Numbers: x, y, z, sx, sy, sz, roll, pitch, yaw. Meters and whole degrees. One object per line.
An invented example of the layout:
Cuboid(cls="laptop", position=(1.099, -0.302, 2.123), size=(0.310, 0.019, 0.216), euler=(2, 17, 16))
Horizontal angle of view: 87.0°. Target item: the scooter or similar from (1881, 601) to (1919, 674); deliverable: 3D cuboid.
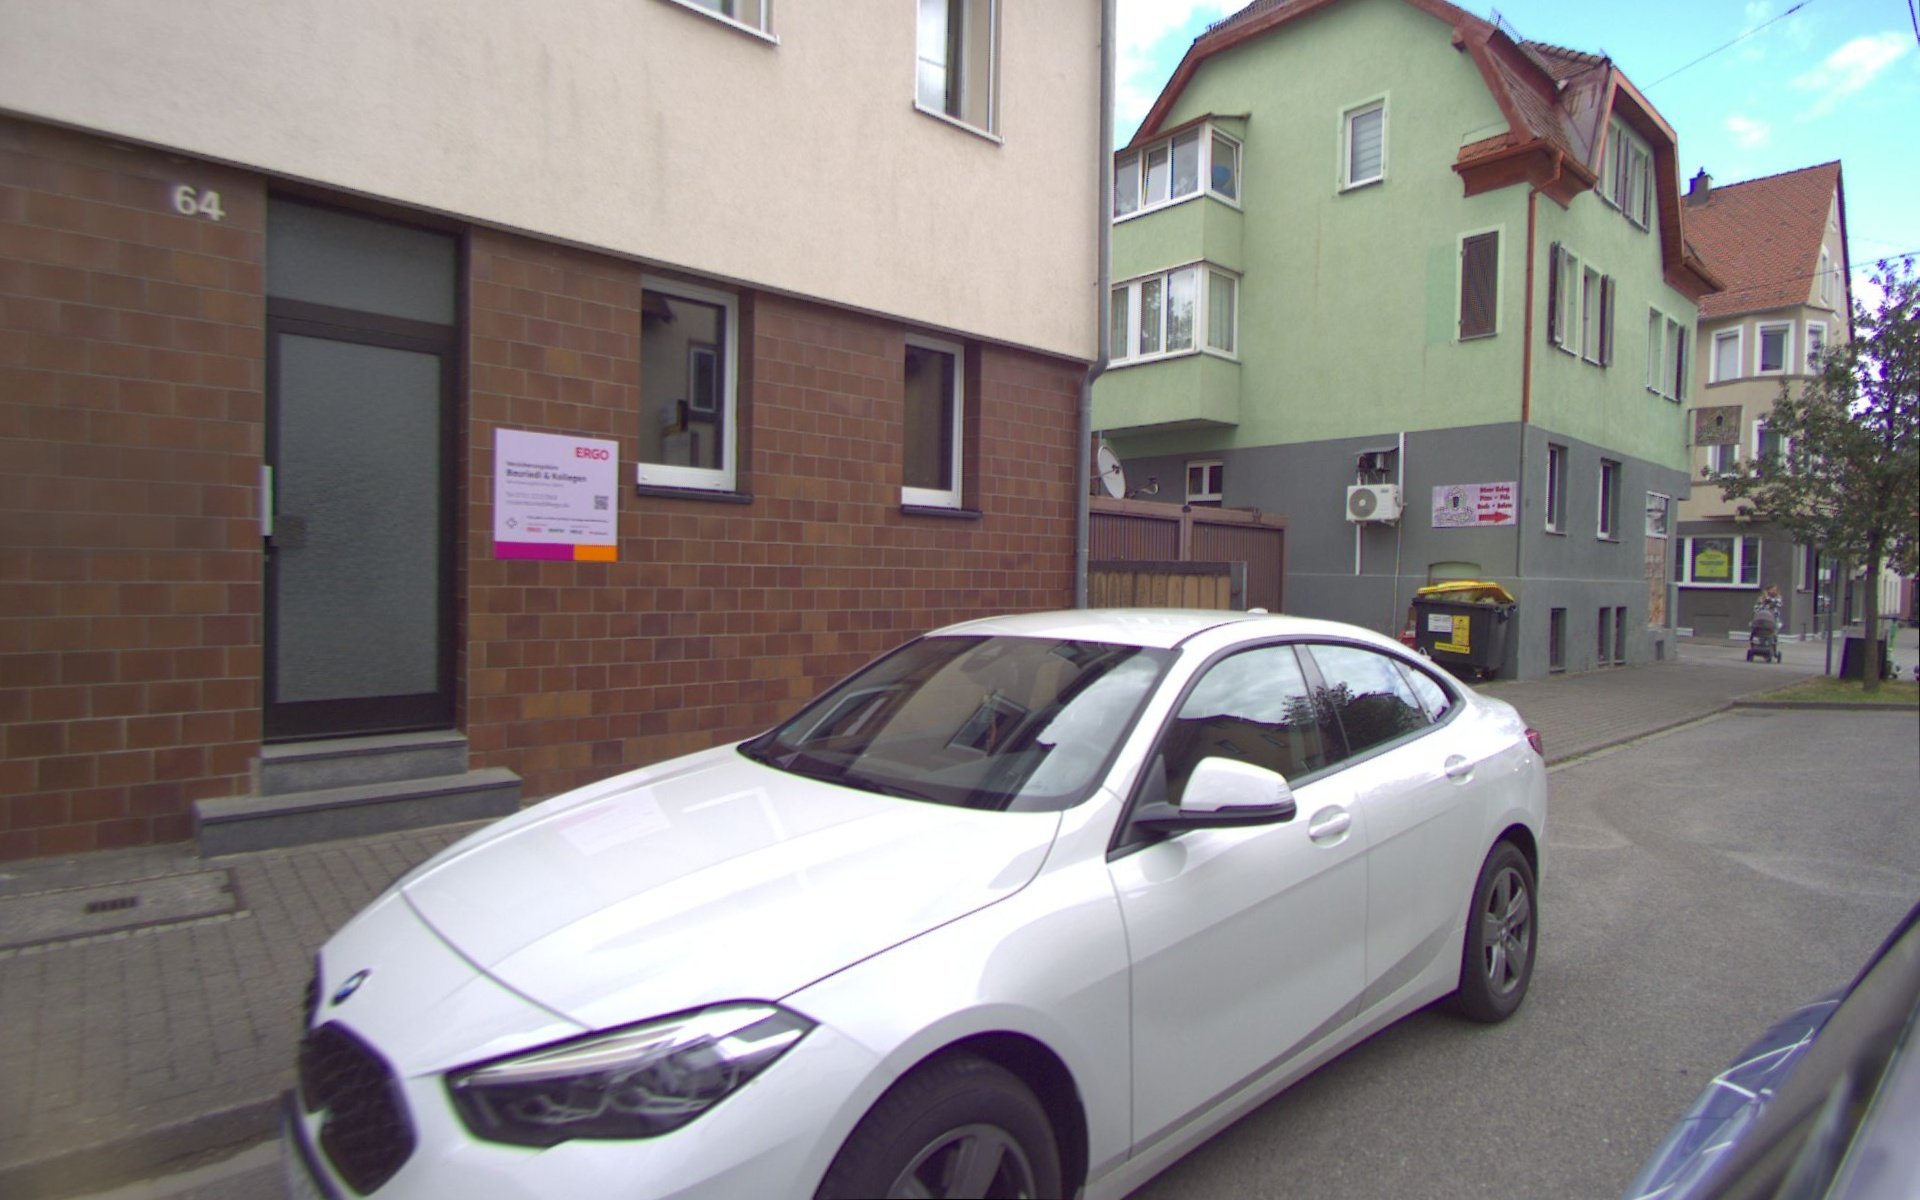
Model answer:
Cuboid(cls="scooter or similar", position=(17.424, 0.658, 18.642), size=(1.909, 1.251, 0.502), euler=(-1, 1, -42))

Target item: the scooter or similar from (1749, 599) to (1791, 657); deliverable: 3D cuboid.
Cuboid(cls="scooter or similar", position=(17.824, 0.599, 22.258), size=(0.876, 1.248, 0.590), euler=(0, 1, -42))

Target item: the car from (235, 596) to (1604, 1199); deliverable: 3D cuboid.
Cuboid(cls="car", position=(0.378, 0.735, 3.265), size=(4.258, 1.464, 1.833), euler=(-1, 1, -42))

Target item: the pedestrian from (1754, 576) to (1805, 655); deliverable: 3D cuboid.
Cuboid(cls="pedestrian", position=(18.506, 0.335, 22.854), size=(0.884, 1.741, 0.751), euler=(0, 0, -41))
